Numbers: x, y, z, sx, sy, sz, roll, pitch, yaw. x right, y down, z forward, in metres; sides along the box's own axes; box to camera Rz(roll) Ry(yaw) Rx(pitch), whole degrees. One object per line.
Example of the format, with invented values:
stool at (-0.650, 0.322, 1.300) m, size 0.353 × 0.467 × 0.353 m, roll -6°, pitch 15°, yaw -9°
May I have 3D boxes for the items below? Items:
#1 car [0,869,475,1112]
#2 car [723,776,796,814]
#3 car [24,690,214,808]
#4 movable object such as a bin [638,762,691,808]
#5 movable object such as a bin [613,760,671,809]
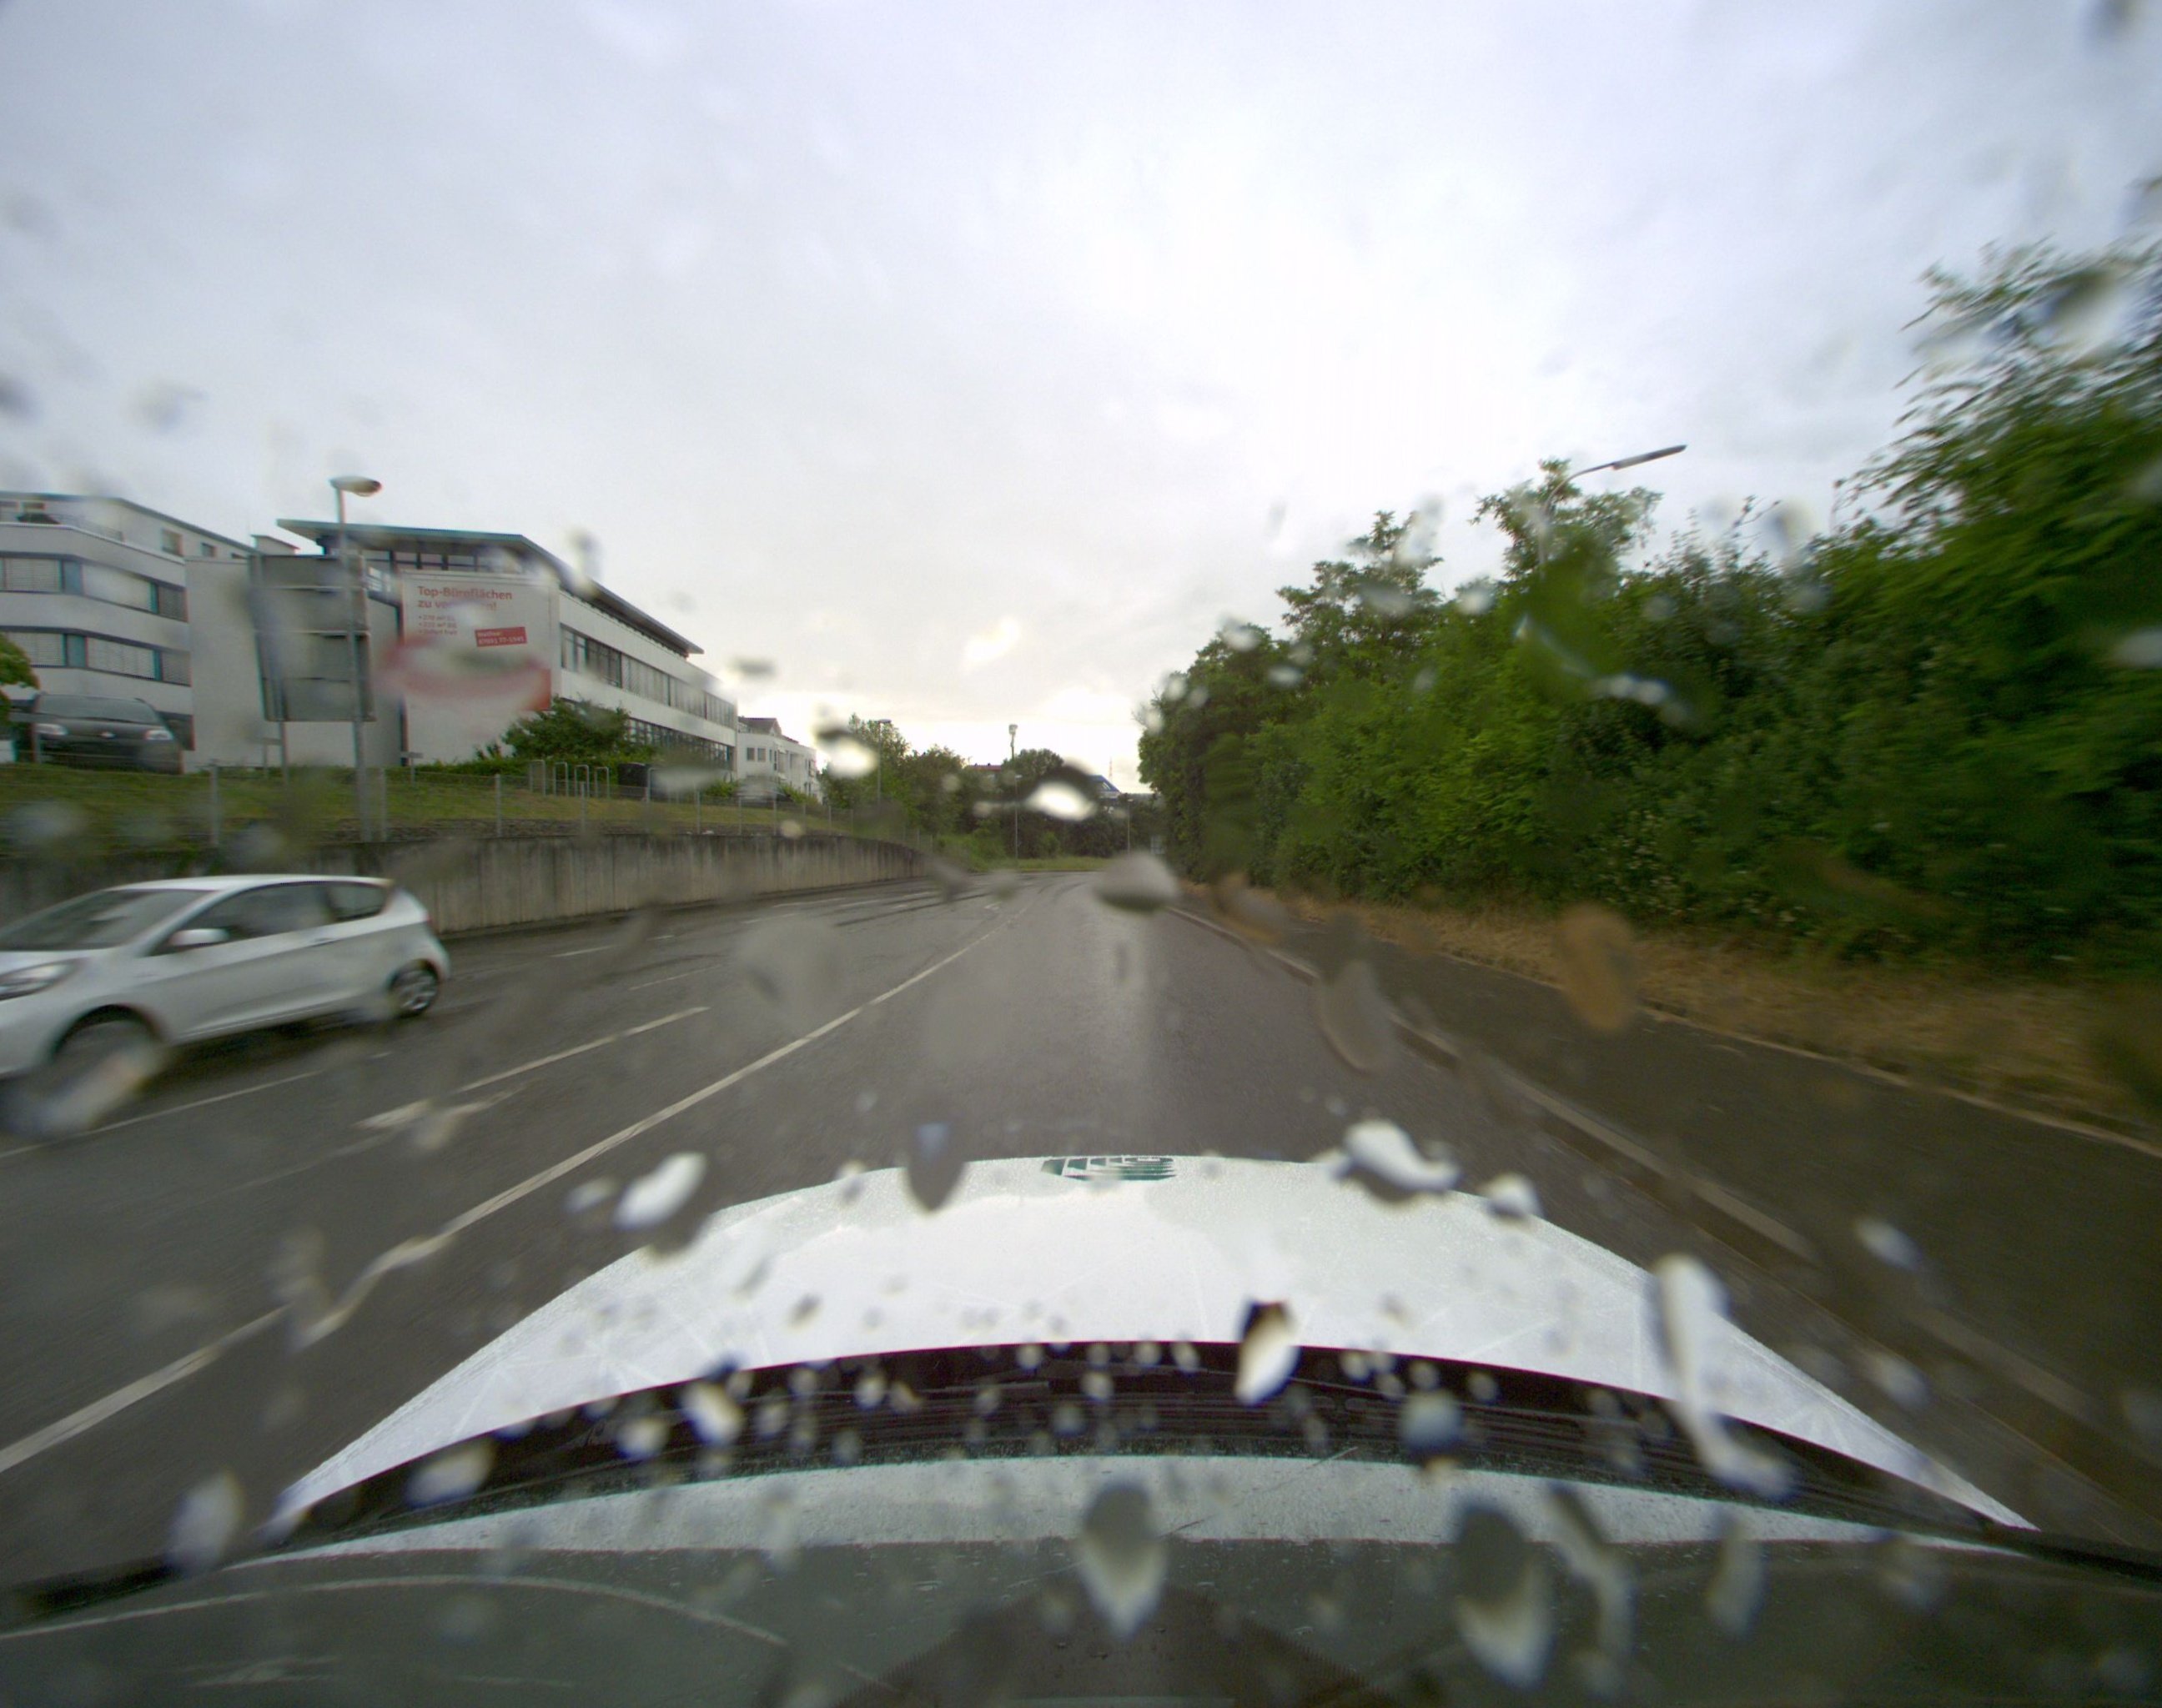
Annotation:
car at (-7.666, 0.926, 7.112) m, size 1.644 × 1.429 × 3.800 m, roll 0°, pitch 1°, yaw 6°
car at (-14.666, -2.668, 37.396) m, size 1.822 × 1.442 × 3.998 m, roll 1°, pitch 0°, yaw -1°
car at (-16.687, -1.669, 14.087) m, size 3.949 × 1.586 × 1.914 m, roll 1°, pitch 0°, yaw 38°
movable object such as a bin at (-14.296, -2.366, 28.001) m, size 1.080 × 1.437 × 1.446 m, roll 1°, pitch 0°, yaw -2°
movable object such as a bin at (-14.280, -2.241, 26.524) m, size 1.080 × 1.437 × 1.446 m, roll 1°, pitch 0°, yaw -2°
